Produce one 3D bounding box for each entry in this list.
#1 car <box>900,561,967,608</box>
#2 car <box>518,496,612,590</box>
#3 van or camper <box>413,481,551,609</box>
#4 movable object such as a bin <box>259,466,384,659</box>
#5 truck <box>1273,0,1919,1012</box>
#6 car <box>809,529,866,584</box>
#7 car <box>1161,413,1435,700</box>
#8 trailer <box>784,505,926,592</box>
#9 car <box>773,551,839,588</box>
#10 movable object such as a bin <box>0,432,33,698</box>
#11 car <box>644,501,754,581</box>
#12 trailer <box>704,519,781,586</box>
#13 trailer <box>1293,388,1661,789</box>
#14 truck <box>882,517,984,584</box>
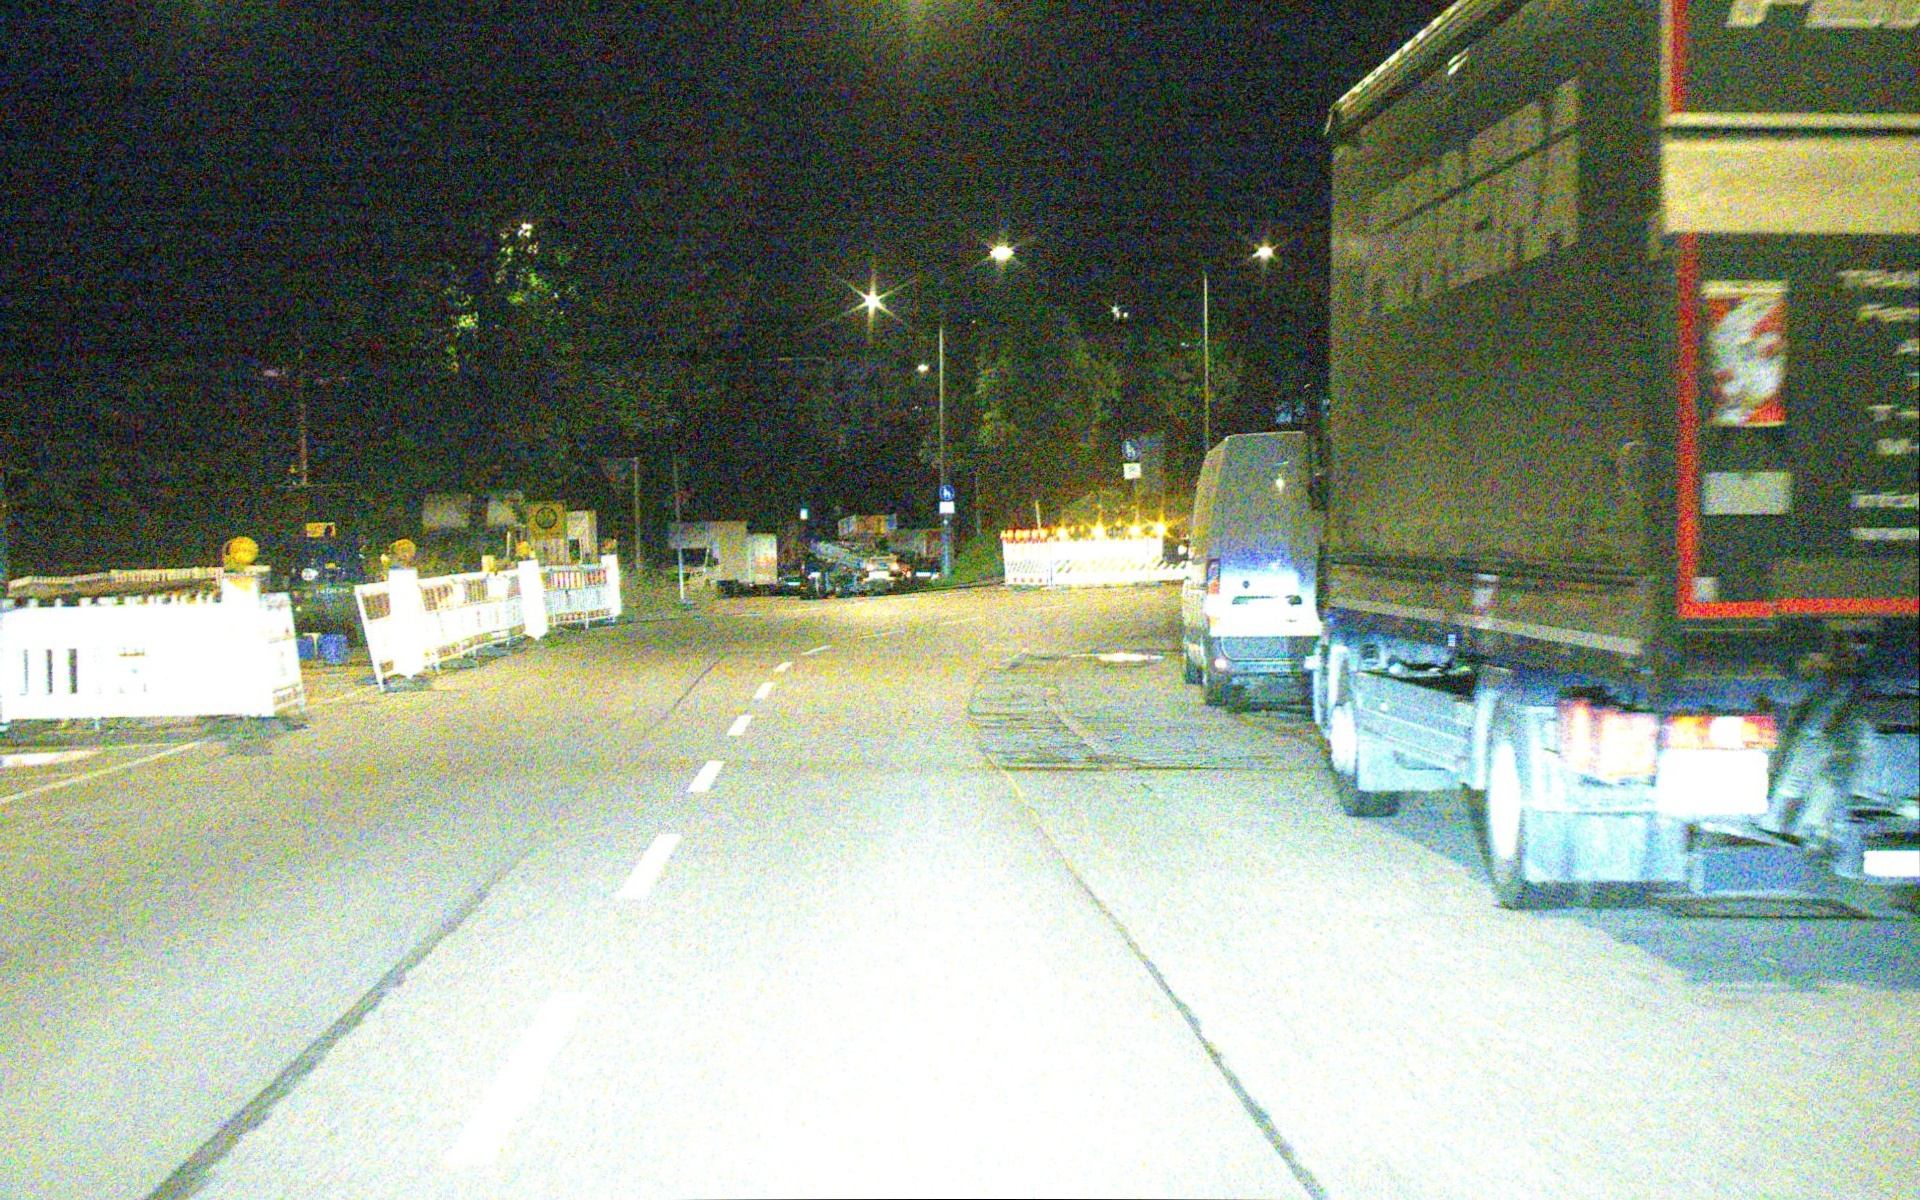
[{"bbox_3d":[-1.018,-0.608,136.368,1.722,1.815,3.997,0,0,14],"label":"car"},{"bbox_3d":[-13.085,-1.862,114.311,2.519,2.917,7.202,-2,1,-3],"label":"car"},{"bbox_3d":[-12.409,-1.413,89.775,2.519,3.084,7.445,-2,1,0],"label":"van or camper"},{"bbox_3d":[-9.633,-0.597,52.079,1.570,2.724,3.702,-3,2,-8],"label":"movable object such as a bin"},{"bbox_3d":[3.674,-0.658,15.774,3.324,3.855,9.329,0,1,-2],"label":"truck"},{"bbox_3d":[-3.827,-1.350,107.845,1.720,1.655,4.000,0,0,-1],"label":"car"},{"bbox_3d":[3.148,-0.461,33.348,2.108,2.507,6.372,0,1,1],"label":"car"},{"bbox_3d":[-2.870,-1.374,92.893,1.559,2.153,5.222,-2,0,-29],"label":"trailer"},{"bbox_3d":[-7.180,-1.415,160.435,1.995,1.694,4.204,0,0,13],"label":"car"},{"bbox_3d":[-9.902,-0.302,32.939,1.548,2.459,2.840,-2,1,-22],"label":"movable object such as a bin"},{"bbox_3d":[-10.805,-2.455,142.961,2.520,3.160,7.134,-2,1,12],"label":"car"},{"bbox_3d":[-9.402,-2.084,149.039,1.995,2.803,4.700,-1,1,13],"label":"trailer"},{"bbox_3d":[3.431,-0.131,23.716,1.632,2.465,5.028,0,1,-2],"label":"trailer"},{"bbox_3d":[-1.337,-2.613,178.694,1.996,3.392,8.969,1,2,22],"label":"truck"}]
